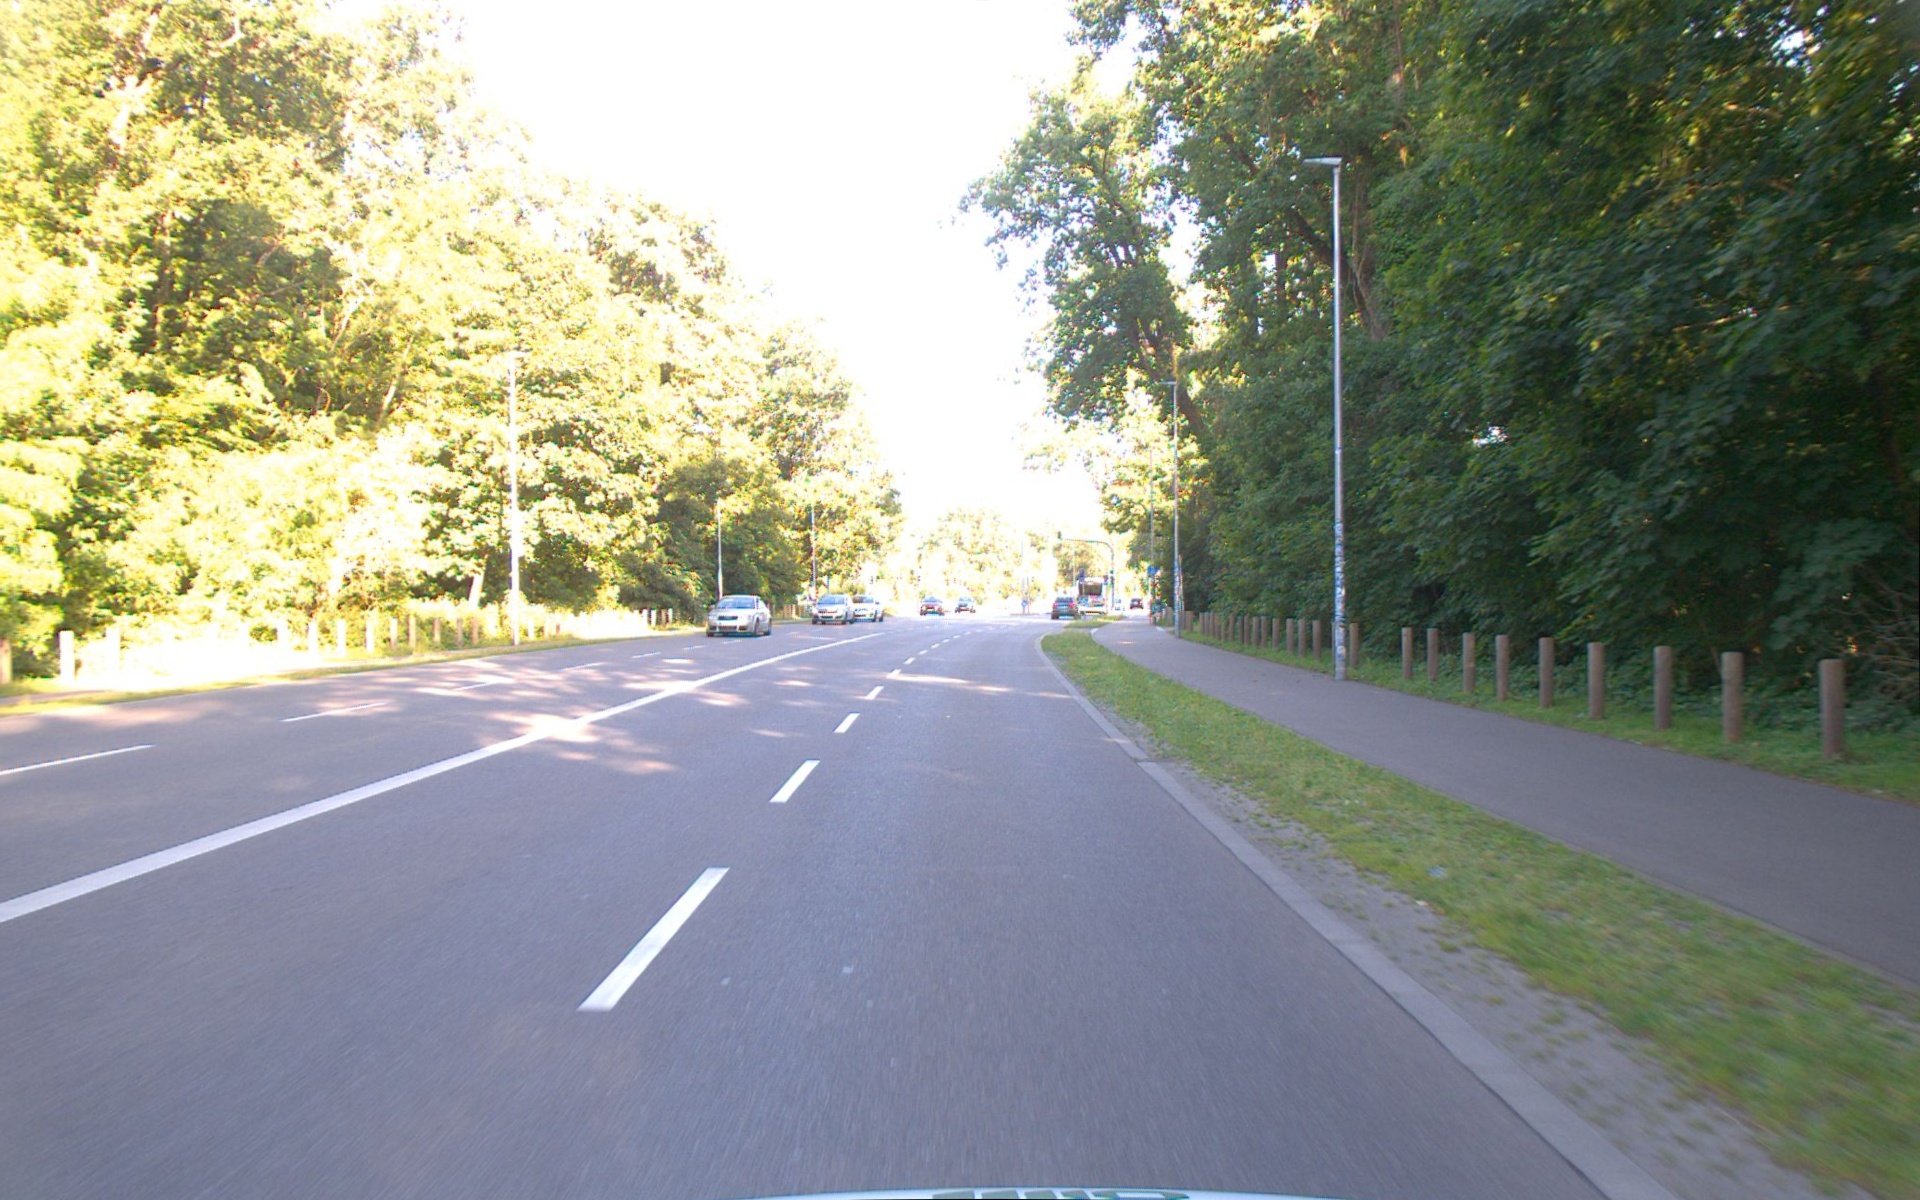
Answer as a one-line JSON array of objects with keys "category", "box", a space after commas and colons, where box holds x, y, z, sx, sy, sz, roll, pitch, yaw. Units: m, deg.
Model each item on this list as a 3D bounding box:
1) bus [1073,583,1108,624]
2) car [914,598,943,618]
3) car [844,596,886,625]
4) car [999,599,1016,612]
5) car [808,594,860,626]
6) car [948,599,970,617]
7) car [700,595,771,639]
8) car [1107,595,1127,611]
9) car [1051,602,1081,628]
[{"category": "bus", "box": [11.174, 0.271, 141.071, 2.549, 3.427, 7.981, 1, 0, 7]}, {"category": "car", "box": [-2.416, 0.592, 127.075, 1.627, 1.544, 3.810, 0, 0, 8]}, {"category": "car", "box": [-5.212, 0.562, 91.550, 1.745, 1.549, 4.400, 0, 0, 4]}, {"category": "car", "box": [5.523, 0.661, 191.512, 1.674, 1.489, 4.103, 1, 0, 7]}, {"category": "car", "box": [-6.222, 0.499, 82.149, 1.742, 1.490, 4.277, 0, 0, 7]}, {"category": "car", "box": [-0.047, 0.725, 151.651, 1.620, 1.534, 4.003, 0, 0, 6]}, {"category": "car", "box": [-7.665, 0.555, 56.800, 1.742, 1.433, 4.166, 0, 1, 1]}, {"category": "car", "box": [17.689, 0.297, 185.853, 1.823, 1.713, 3.776, -1, 0, 11]}, {"category": "car", "box": [7.519, 1.069, 116.946, 1.840, 1.796, 4.003, 0, 0, 7]}]
